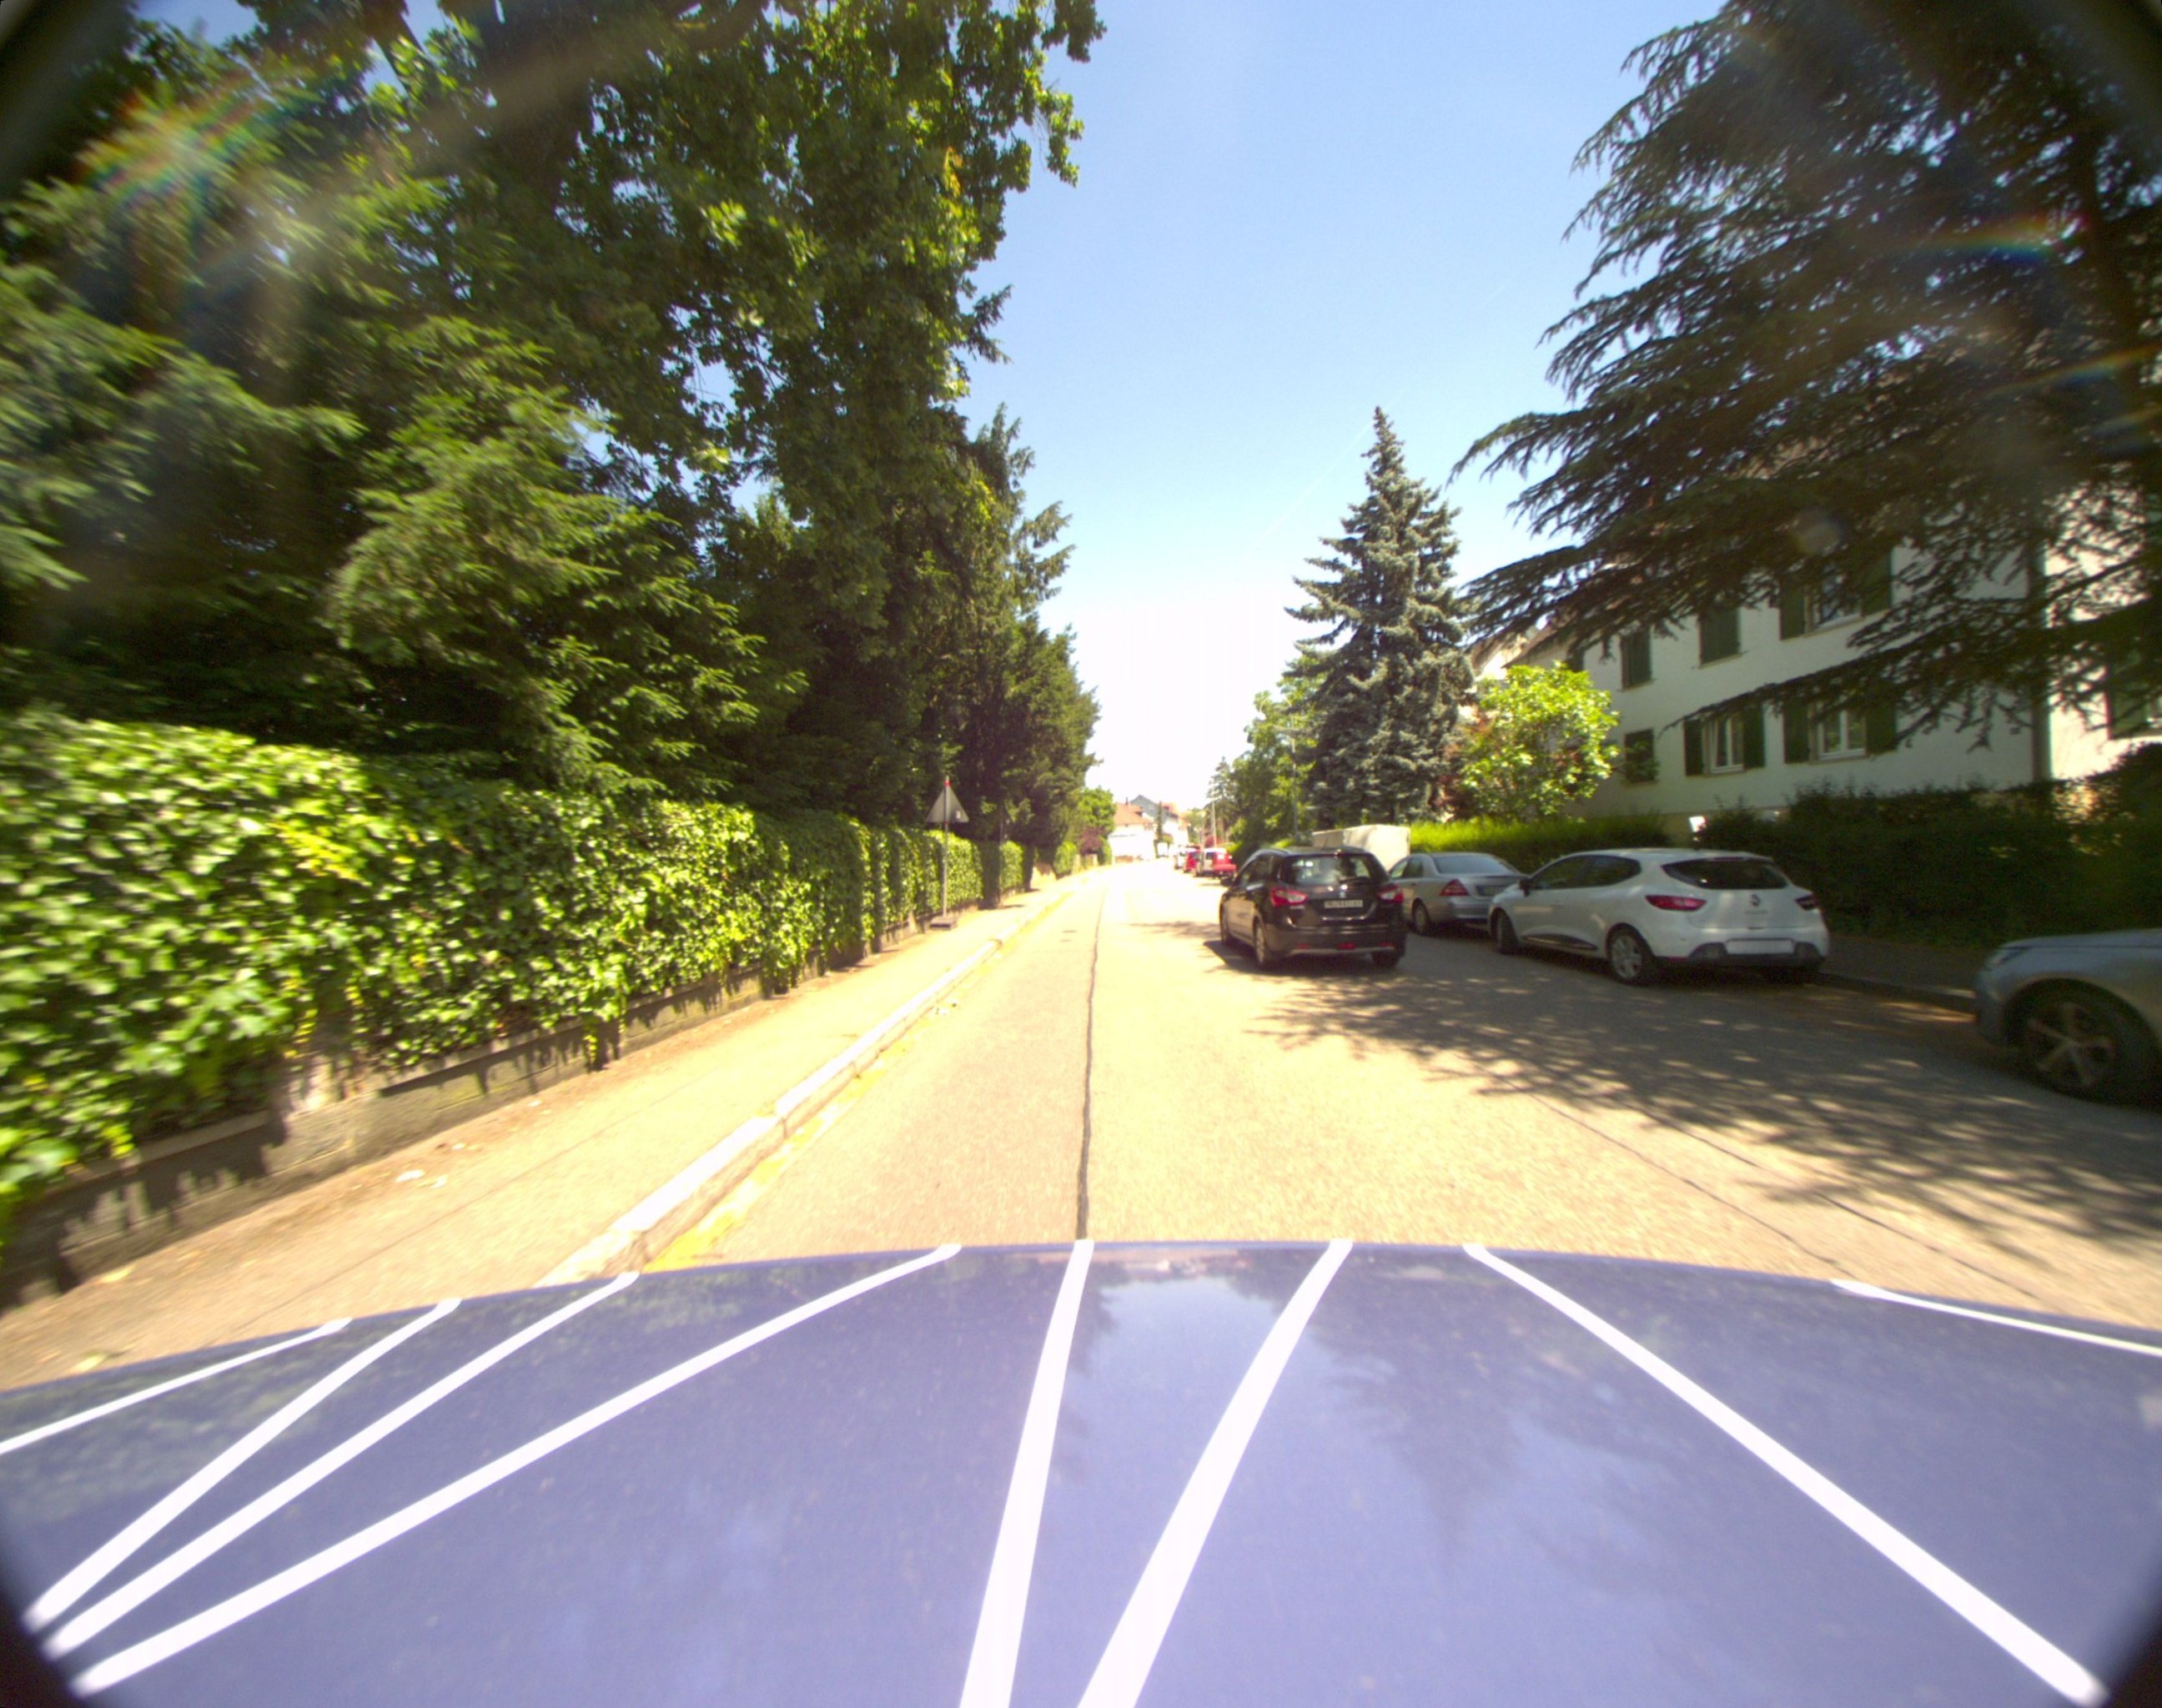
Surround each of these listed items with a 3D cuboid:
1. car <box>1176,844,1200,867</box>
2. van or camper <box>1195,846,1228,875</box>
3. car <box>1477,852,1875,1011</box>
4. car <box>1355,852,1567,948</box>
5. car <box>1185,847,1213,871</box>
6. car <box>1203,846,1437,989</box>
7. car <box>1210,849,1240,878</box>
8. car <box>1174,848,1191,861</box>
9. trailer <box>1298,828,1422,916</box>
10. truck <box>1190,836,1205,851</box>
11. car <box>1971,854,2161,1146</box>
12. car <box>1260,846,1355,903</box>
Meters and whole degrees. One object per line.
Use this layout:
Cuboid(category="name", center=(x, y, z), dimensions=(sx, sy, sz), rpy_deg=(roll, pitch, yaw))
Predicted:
Cuboid(category="car", center=(9.988, 0.085, 71.209), dimensions=(1.893, 2.103, 4.000), rpy_deg=(-1, 1, 4))
Cuboid(category="van or camper", center=(8.254, 0.381, 48.233), dimensions=(1.583, 1.760, 3.889), rpy_deg=(-2, 0, 4))
Cuboid(category="car", center=(6.576, 0.727, 9.060), dimensions=(1.801, 1.434, 3.896), rpy_deg=(-1, 0, 2))
Cuboid(category="car", center=(6.687, 0.706, 13.992), dimensions=(1.801, 1.434, 4.477), rpy_deg=(-1, 0, 2))
Cuboid(category="car", center=(8.971, 0.322, 58.000), dimensions=(1.893, 1.749, 3.613), rpy_deg=(-1, 1, 4))
Cuboid(category="car", center=(3.083, 0.708, 10.786), dimensions=(1.904, 1.565, 4.140), rpy_deg=(-2, 1, -1))
Cuboid(category="car", center=(8.183, 0.505, 43.286), dimensions=(1.308, 1.568, 2.321), rpy_deg=(-2, 0, 4))
Cuboid(category="car", center=(13.237, 0.002, 99.367), dimensions=(1.893, 1.628, 4.000), rpy_deg=(-1, 1, 4))
Cuboid(category="trailer", center=(7.087, 0.413, 19.741), dimensions=(1.818, 2.021, 4.000), rpy_deg=(-1, 0, 1))
Cuboid(category="truck", center=(23.619, -2.131, 153.695), dimensions=(2.225, 2.915, 6.730), rpy_deg=(0, 1, 14))
Cuboid(category="car", center=(6.284, 0.739, 2.488), dimensions=(1.801, 1.434, 4.272), rpy_deg=(-1, 0, 2))
Cuboid(category="car", center=(7.014, 0.582, 24.021), dimensions=(1.772, 1.610, 4.549), rpy_deg=(-1, 0, 2))
